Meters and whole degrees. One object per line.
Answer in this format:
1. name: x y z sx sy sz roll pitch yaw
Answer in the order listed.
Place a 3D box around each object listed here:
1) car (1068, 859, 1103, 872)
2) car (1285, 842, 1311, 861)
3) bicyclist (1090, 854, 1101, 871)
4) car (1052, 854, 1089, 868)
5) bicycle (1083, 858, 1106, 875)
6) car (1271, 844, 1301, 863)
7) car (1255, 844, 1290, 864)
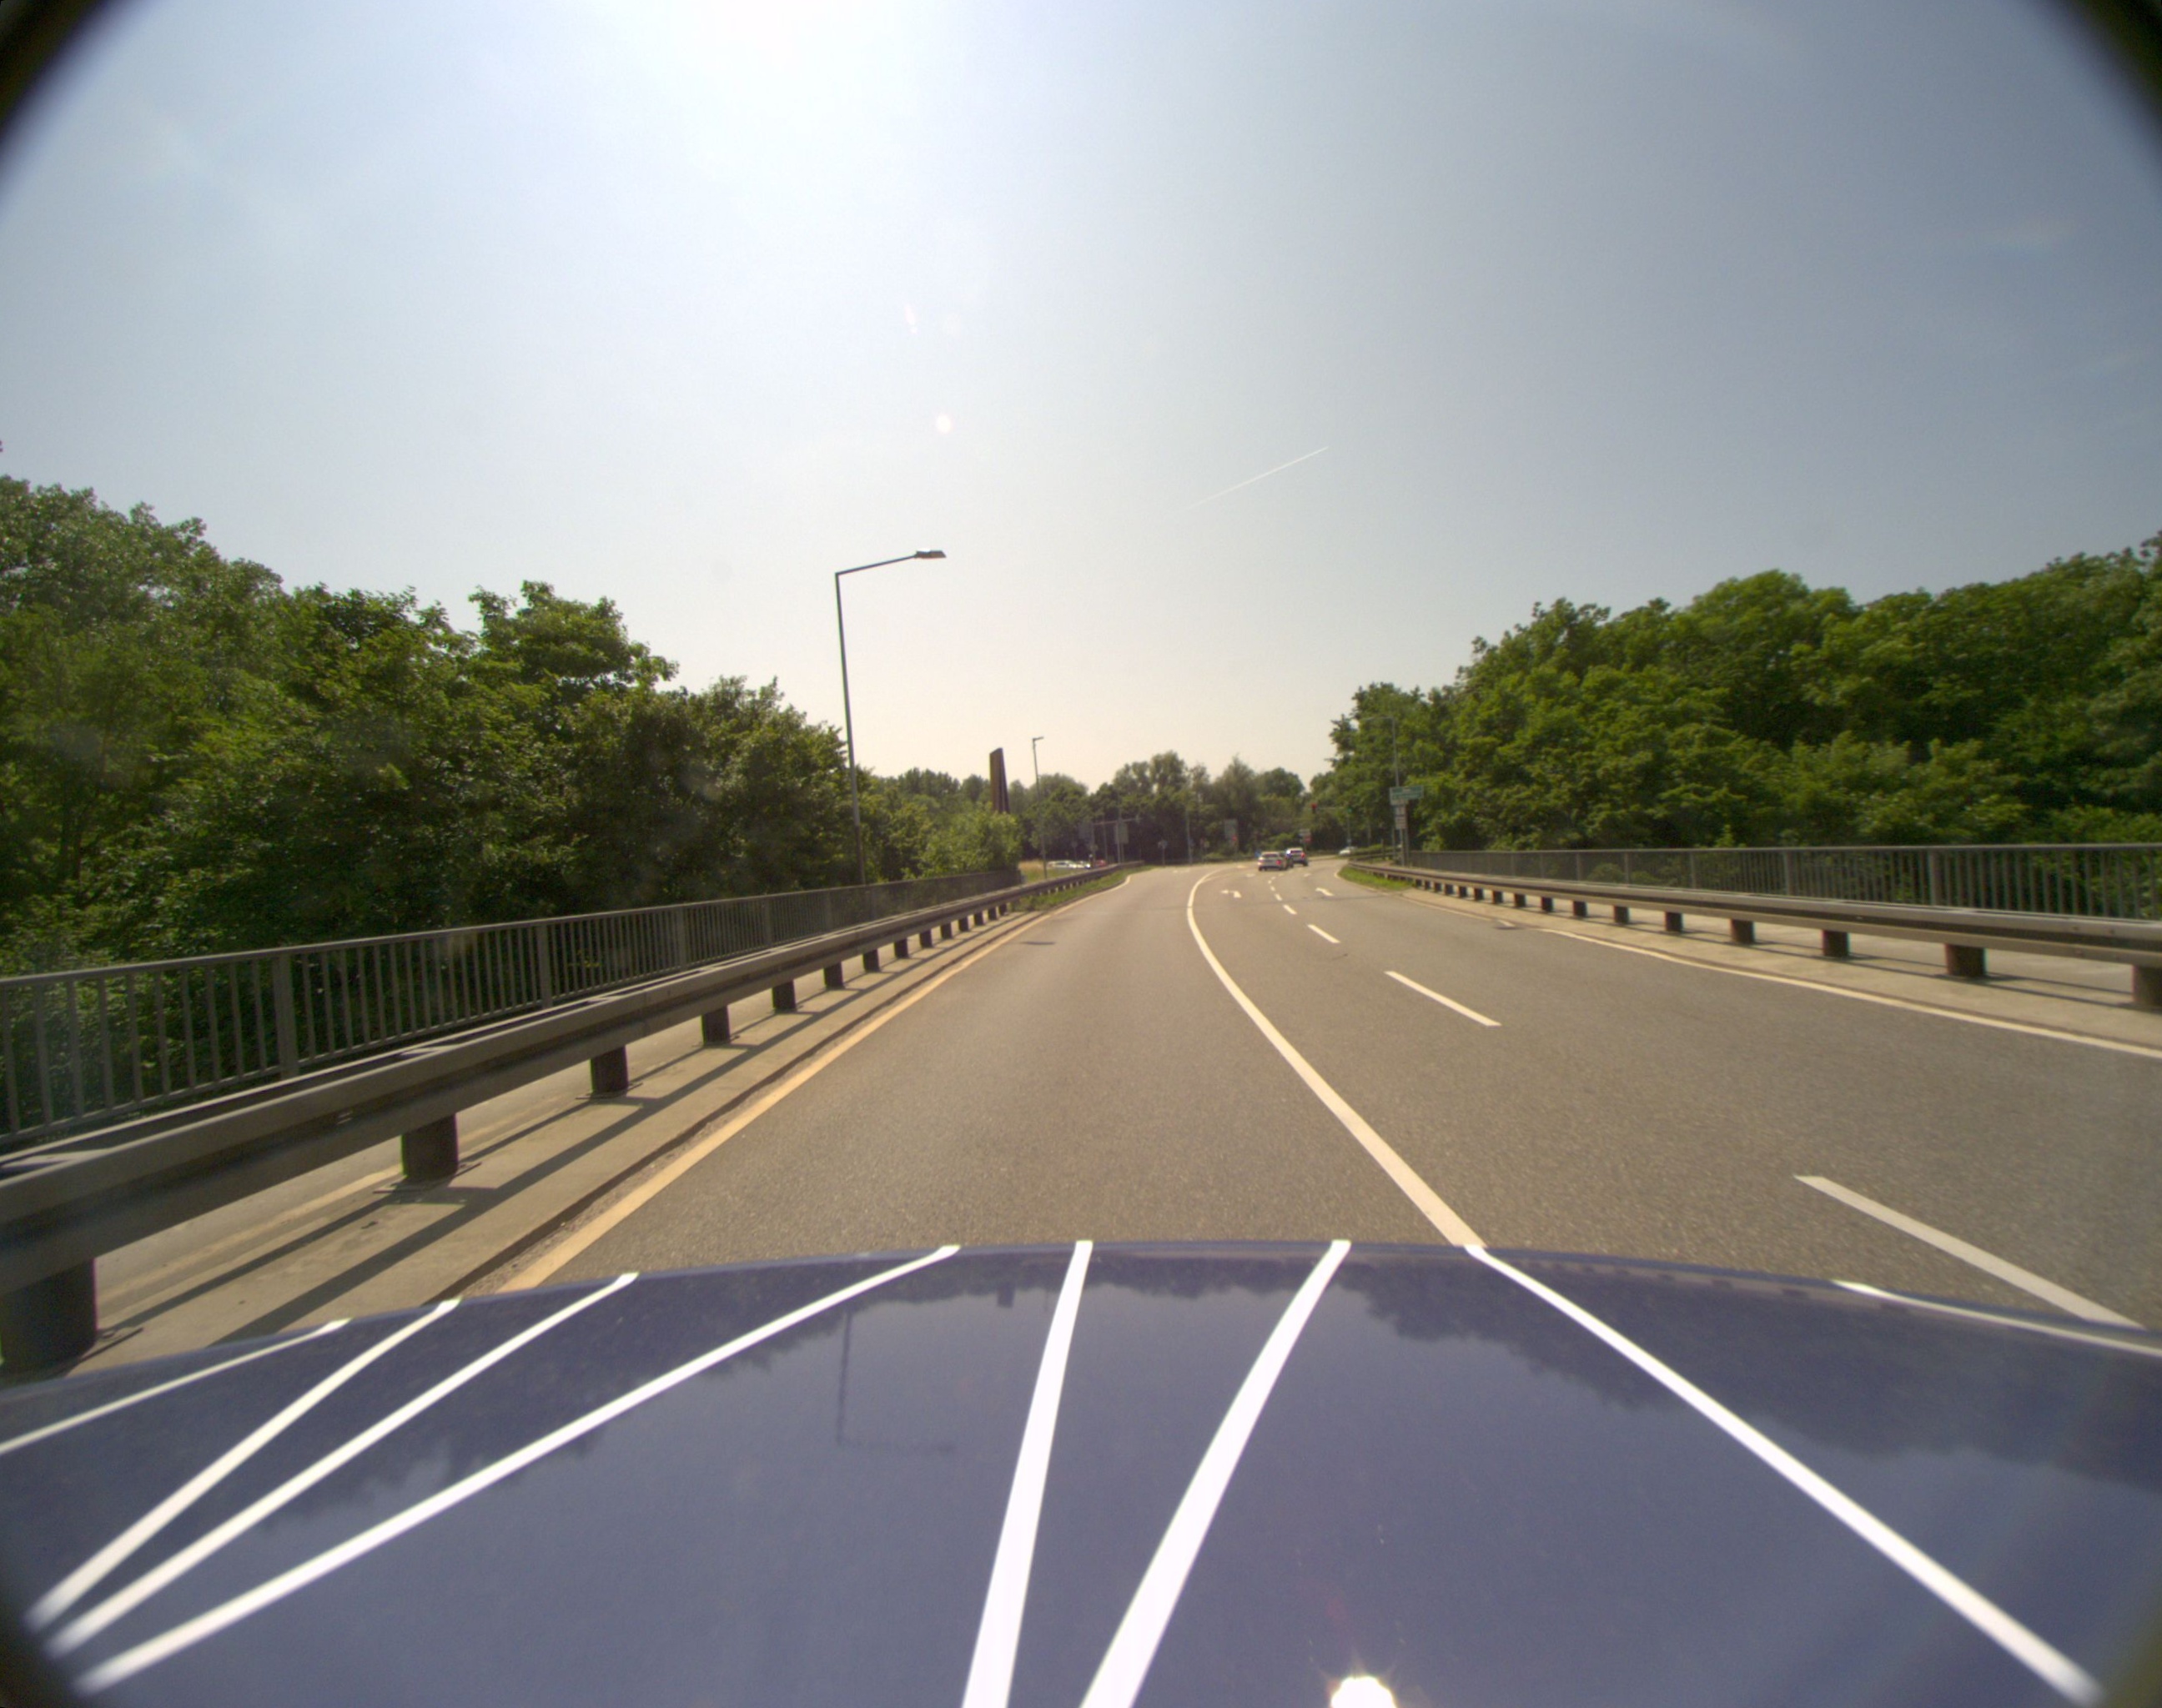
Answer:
1. car: 0.582 1.403 94.736 4.175 1.415 1.871 -3 0 43
2. car: 20.001 -0.239 69.953 1.829 1.629 4.584 -1 1 21
3. bicyclist: 1.392 0.787 72.940 0.672 1.590 0.690 -4 1 -43
4. car: -1.294 0.840 91.789 4.285 1.497 1.871 -3 0 43
5. bicycle: 1.325 1.205 73.043 0.657 1.565 2.368 -4 1 -43
6. car: 17.111 -0.038 63.288 1.829 1.398 4.553 -2 1 23
7. car: 14.583 -0.028 57.596 1.829 1.398 4.895 -1 1 23
